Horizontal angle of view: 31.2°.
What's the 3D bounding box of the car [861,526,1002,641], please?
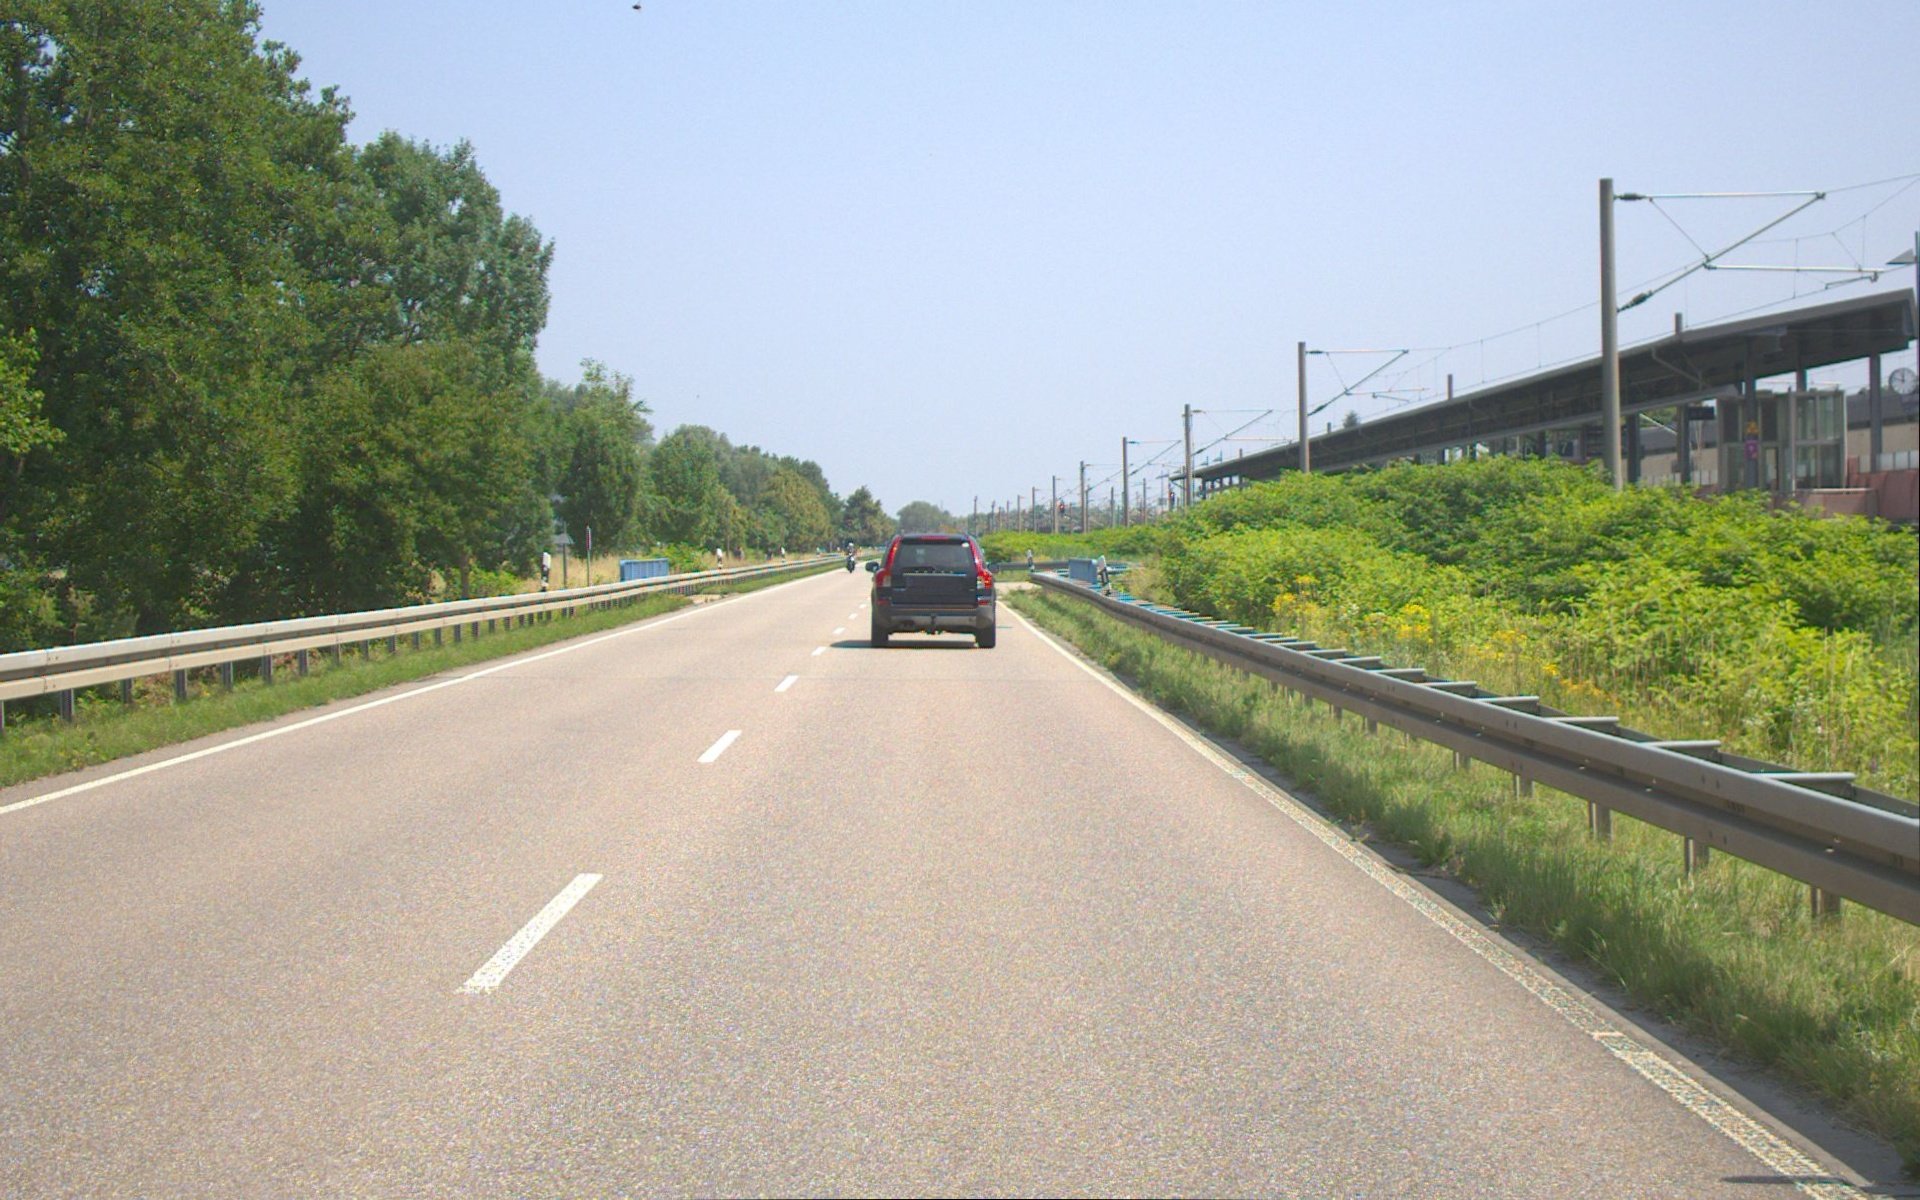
[{"bbox_3d":[-0.474,-0.279,52.579,1.993,1.694,4.001,0,1,-3],"label":"car"}]
